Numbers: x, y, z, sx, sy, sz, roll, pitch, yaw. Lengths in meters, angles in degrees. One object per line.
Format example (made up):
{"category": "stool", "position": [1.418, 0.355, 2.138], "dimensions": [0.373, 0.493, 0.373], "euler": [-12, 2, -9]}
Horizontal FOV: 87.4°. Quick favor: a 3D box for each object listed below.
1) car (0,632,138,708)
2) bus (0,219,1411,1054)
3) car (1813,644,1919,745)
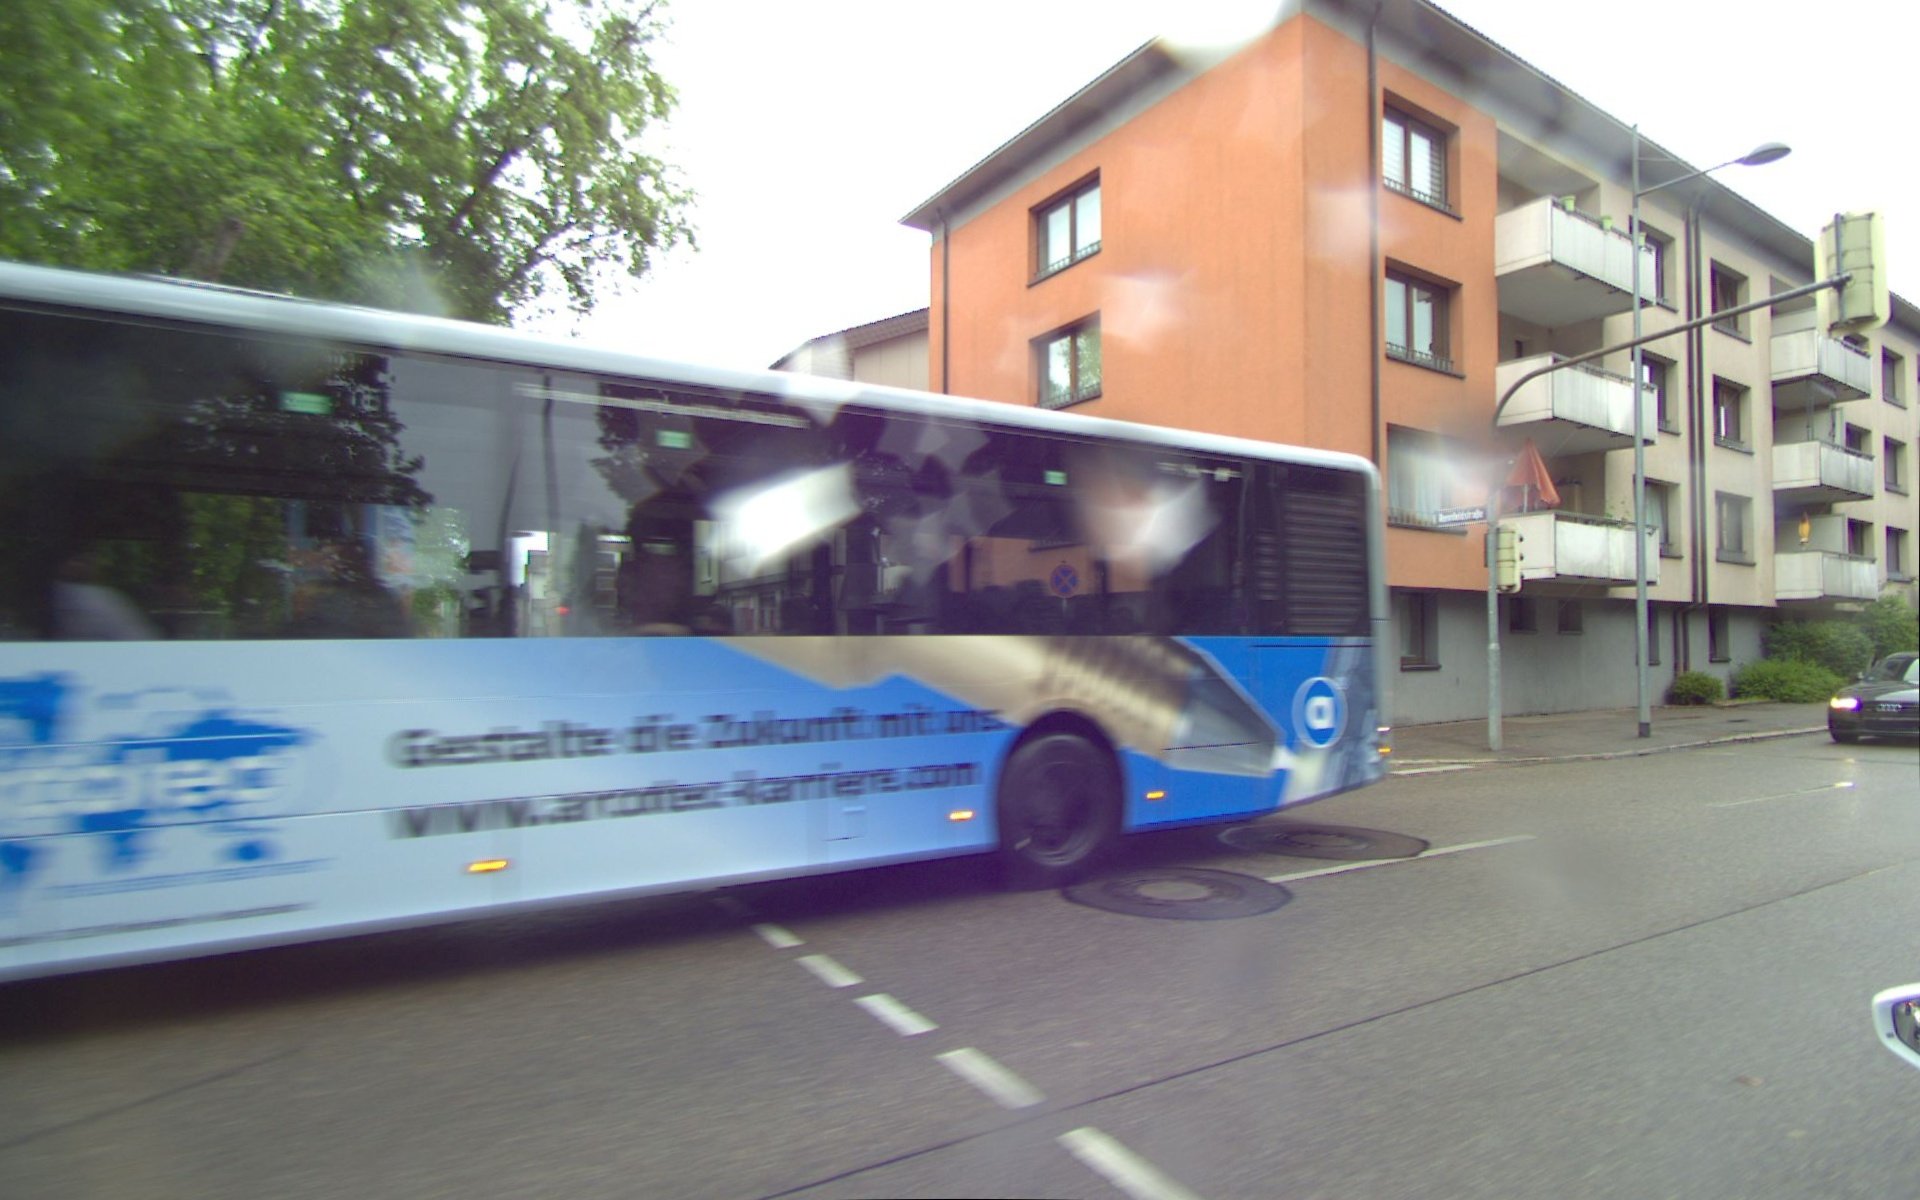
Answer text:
{"category": "car", "position": [-19.687, 1.514, 22.274], "dimensions": [1.799, 1.535, 3.964], "euler": [2, -3, -33]}
{"category": "bus", "position": [-2.177, 0.237, 6.013], "dimensions": [11.646, 3.013, 2.753], "euler": [2, -3, -31]}
{"category": "car", "position": [15.658, 1.454, 16.136], "dimensions": [4.170, 1.488, 1.766], "euler": [1, -4, -32]}
